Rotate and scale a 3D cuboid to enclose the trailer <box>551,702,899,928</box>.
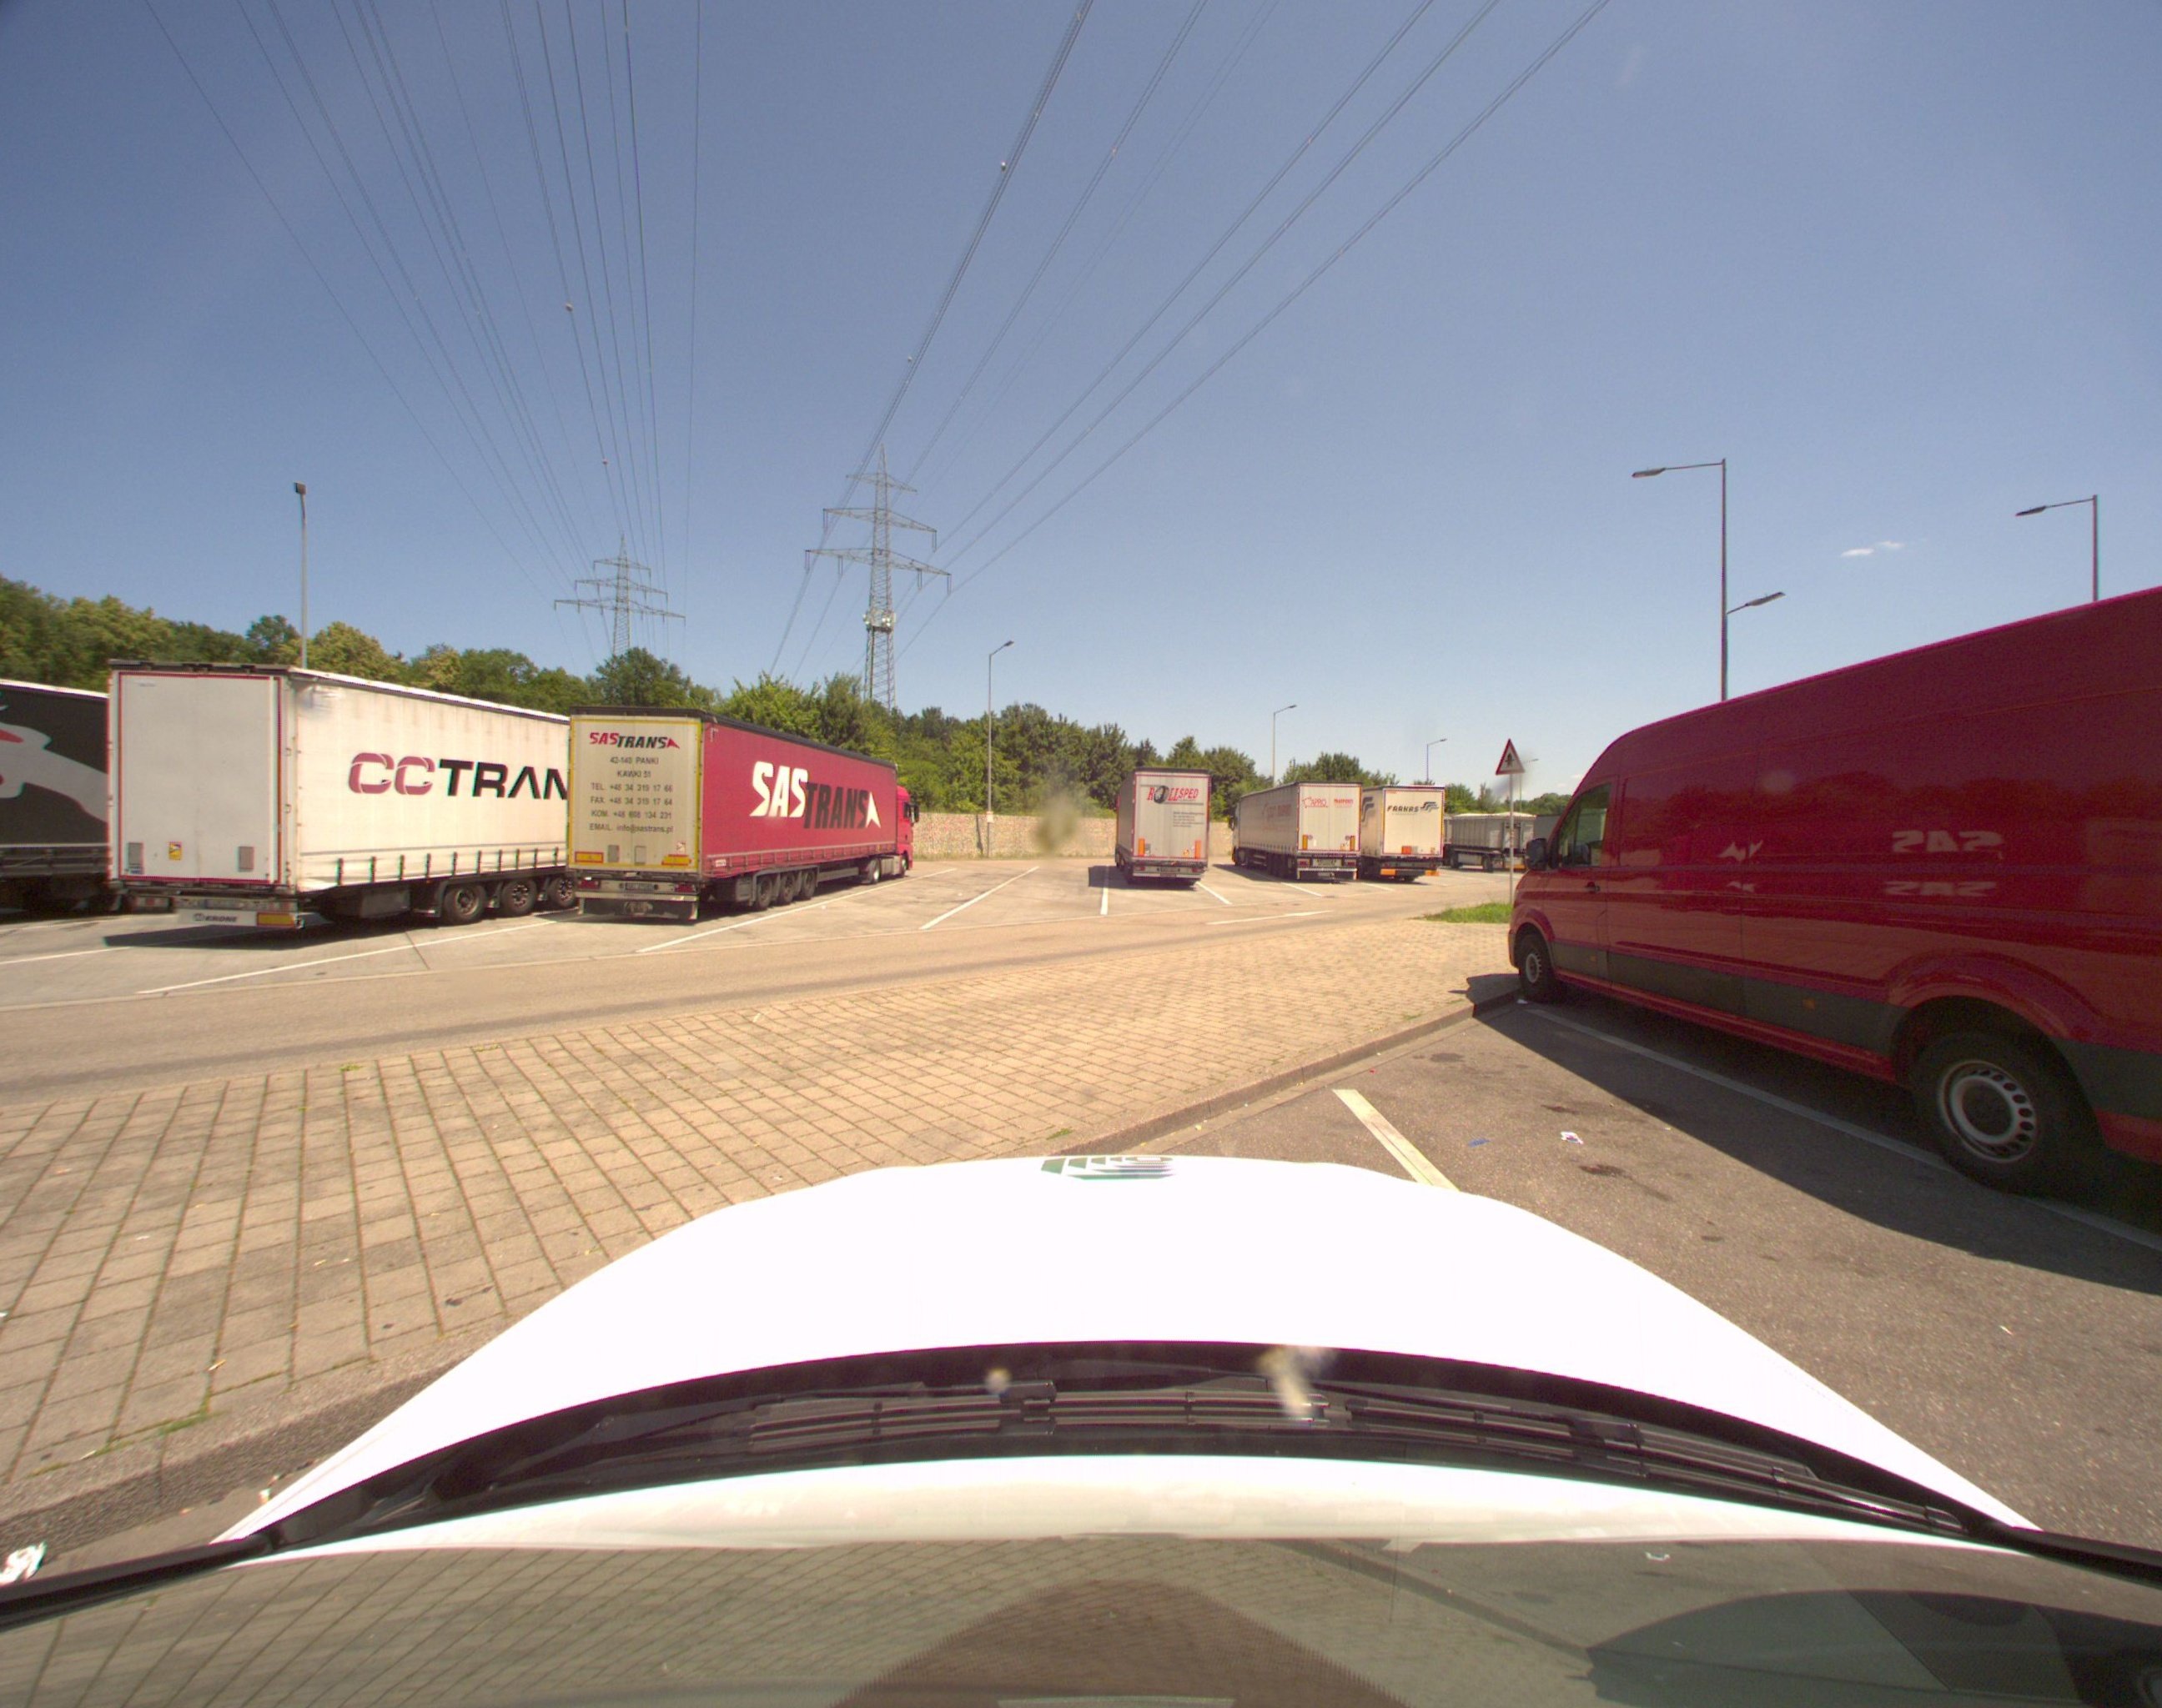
[{"bbox_3d":[-8.044,-0.925,21.726,2.811,4.070,13.770,1,2,2],"label":"trailer"}]

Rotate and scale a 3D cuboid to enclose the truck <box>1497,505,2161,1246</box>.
[{"bbox_3d":[5.145,0.075,5.452,2.001,2.651,6.466,-1,0,6],"label":"truck"}]

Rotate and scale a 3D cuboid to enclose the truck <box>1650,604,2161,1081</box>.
[{"bbox_3d":[8.004,-0.076,6.885,2.406,2.906,6.466,-1,0,6],"label":"truck"}]

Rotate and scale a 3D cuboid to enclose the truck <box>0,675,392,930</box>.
[{"bbox_3d":[-18.547,-0.935,15.829,2.696,4.070,8.694,1,2,2],"label":"truck"}]

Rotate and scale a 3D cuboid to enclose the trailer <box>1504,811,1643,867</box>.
[{"bbox_3d":[38.223,-1.298,64.180,2.847,3.904,13.770,1,2,2],"label":"trailer"}]

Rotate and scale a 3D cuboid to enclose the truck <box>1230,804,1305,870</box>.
[{"bbox_3d":[10.180,-0.976,45.063,2.855,3.362,5.977,1,2,2],"label":"truck"}]

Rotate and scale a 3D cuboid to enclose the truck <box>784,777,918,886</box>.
[{"bbox_3d":[-7.830,-0.791,28.543,2.801,3.362,5.977,1,2,2],"label":"truck"}]

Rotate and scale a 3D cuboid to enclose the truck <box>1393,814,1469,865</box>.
[{"bbox_3d":[24.628,-1.082,57.595,2.855,3.362,5.977,1,2,2],"label":"truck"}]

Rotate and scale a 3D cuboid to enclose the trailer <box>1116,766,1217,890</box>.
[{"bbox_3d":[3.050,-1.047,33.208,2.848,3.971,13.767,1,2,1],"label":"trailer"}]

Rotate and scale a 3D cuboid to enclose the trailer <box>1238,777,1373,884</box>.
[{"bbox_3d":[9.982,-1.120,38.299,2.847,4.109,13.770,1,2,2],"label":"trailer"}]

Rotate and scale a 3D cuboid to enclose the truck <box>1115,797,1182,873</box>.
[{"bbox_3d":[3.141,-0.937,39.410,2.855,3.362,5.977,1,2,2],"label":"truck"}]

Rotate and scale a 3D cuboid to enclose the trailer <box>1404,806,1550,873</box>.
[{"bbox_3d":[24.443,-0.995,51.498,2.847,3.599,13.770,1,2,2],"label":"trailer"}]

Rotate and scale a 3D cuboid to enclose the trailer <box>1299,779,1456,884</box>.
[{"bbox_3d":[13.610,-1.095,39.224,2.847,4.109,13.770,1,2,2],"label":"trailer"}]

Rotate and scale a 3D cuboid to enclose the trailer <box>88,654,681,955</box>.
[{"bbox_3d":[-12.159,-0.839,16.422,2.696,4.101,10.395,1,2,2],"label":"trailer"}]
